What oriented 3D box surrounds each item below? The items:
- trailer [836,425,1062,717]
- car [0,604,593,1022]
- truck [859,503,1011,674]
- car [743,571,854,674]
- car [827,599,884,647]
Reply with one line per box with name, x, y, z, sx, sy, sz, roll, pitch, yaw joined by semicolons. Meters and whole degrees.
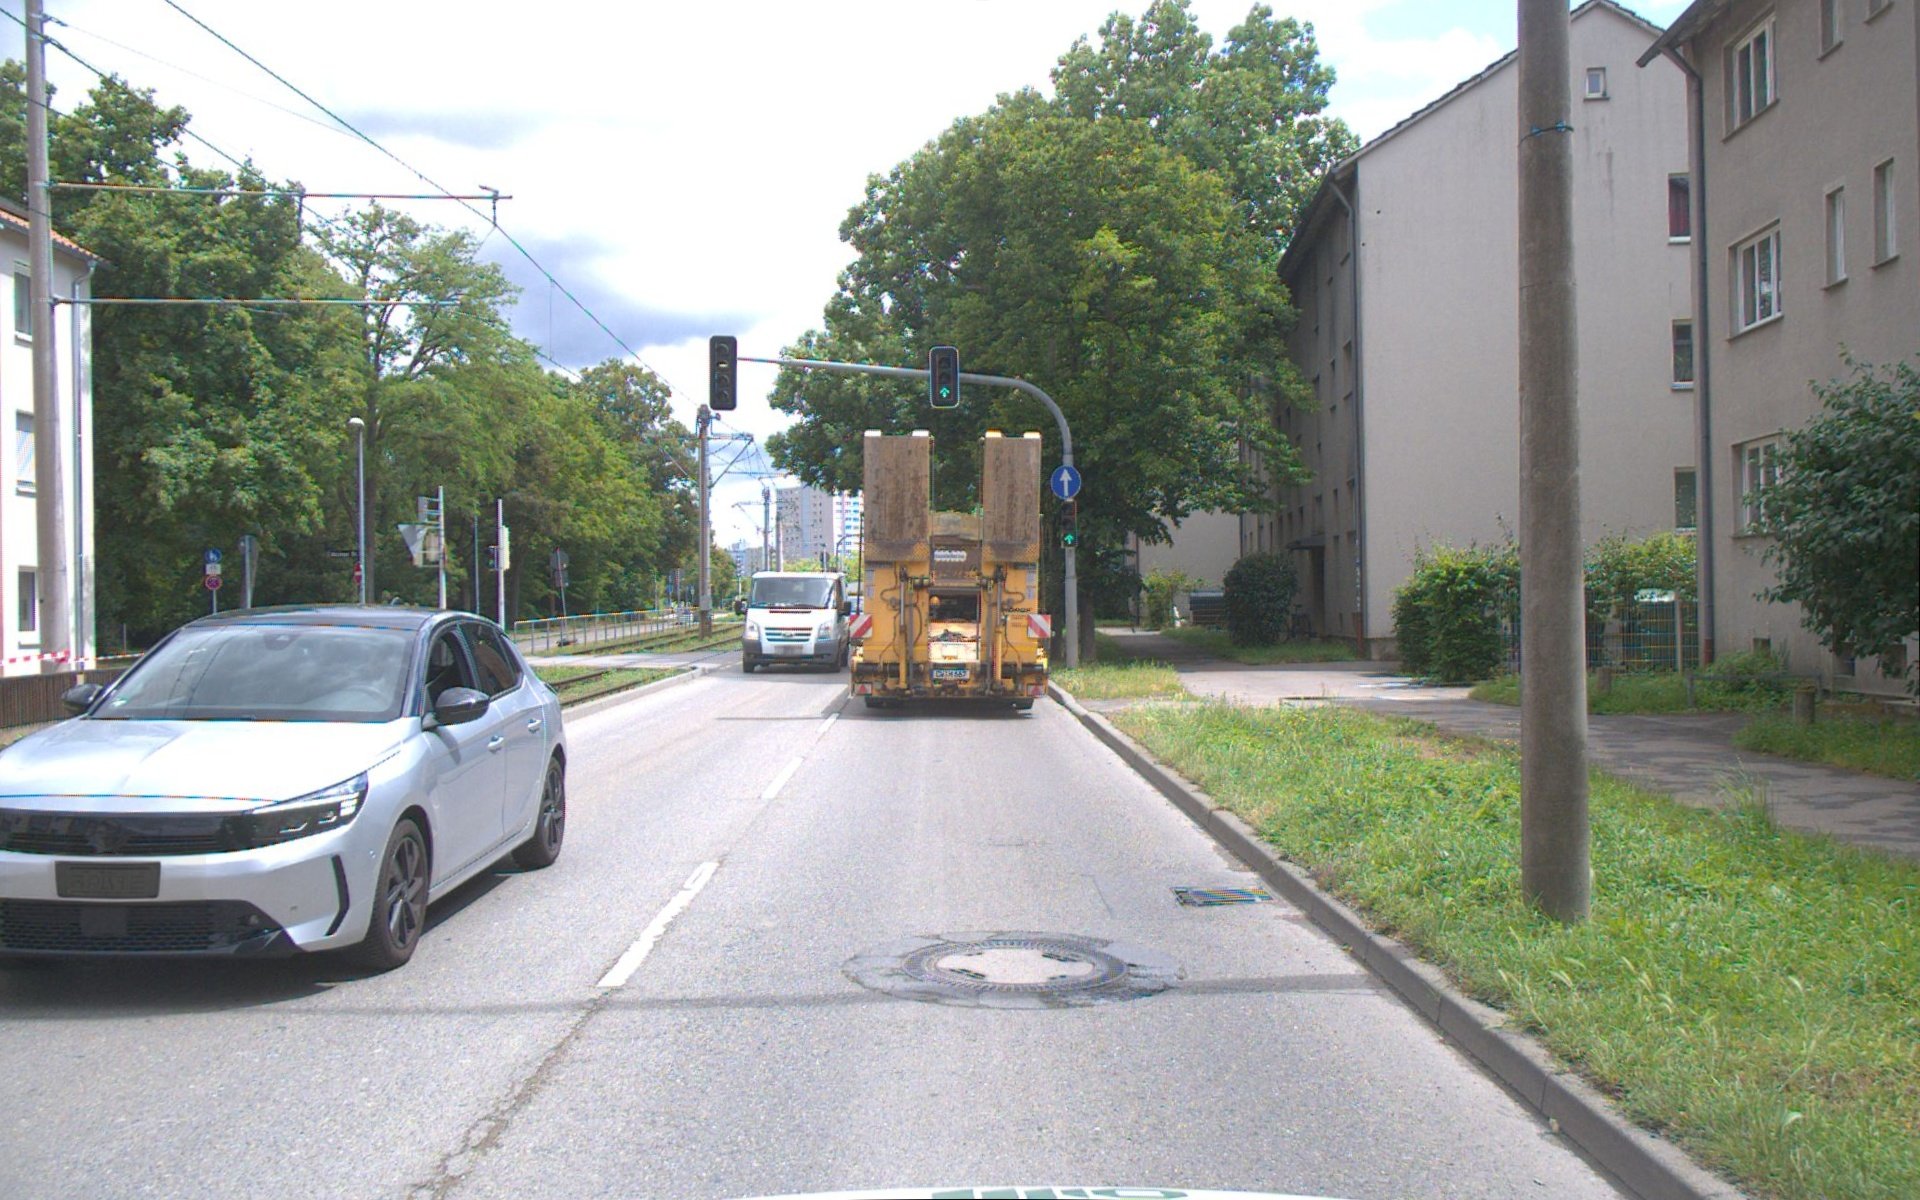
trailer;-0.304;-0.365;25.969;2.766;3.585;11.047;0;0;-2
car;-3.000;0.755;7.813;1.695;1.442;3.983;0;0;-1
truck;-0.553;-0.232;35.317;2.858;3.222;7.678;1;0;-1
car;-3.249;0.430;33.955;1.903;1.974;4.316;0;0;-1
car;-3.390;0.724;54.155;1.645;1.475;4.073;-1;0;-1
